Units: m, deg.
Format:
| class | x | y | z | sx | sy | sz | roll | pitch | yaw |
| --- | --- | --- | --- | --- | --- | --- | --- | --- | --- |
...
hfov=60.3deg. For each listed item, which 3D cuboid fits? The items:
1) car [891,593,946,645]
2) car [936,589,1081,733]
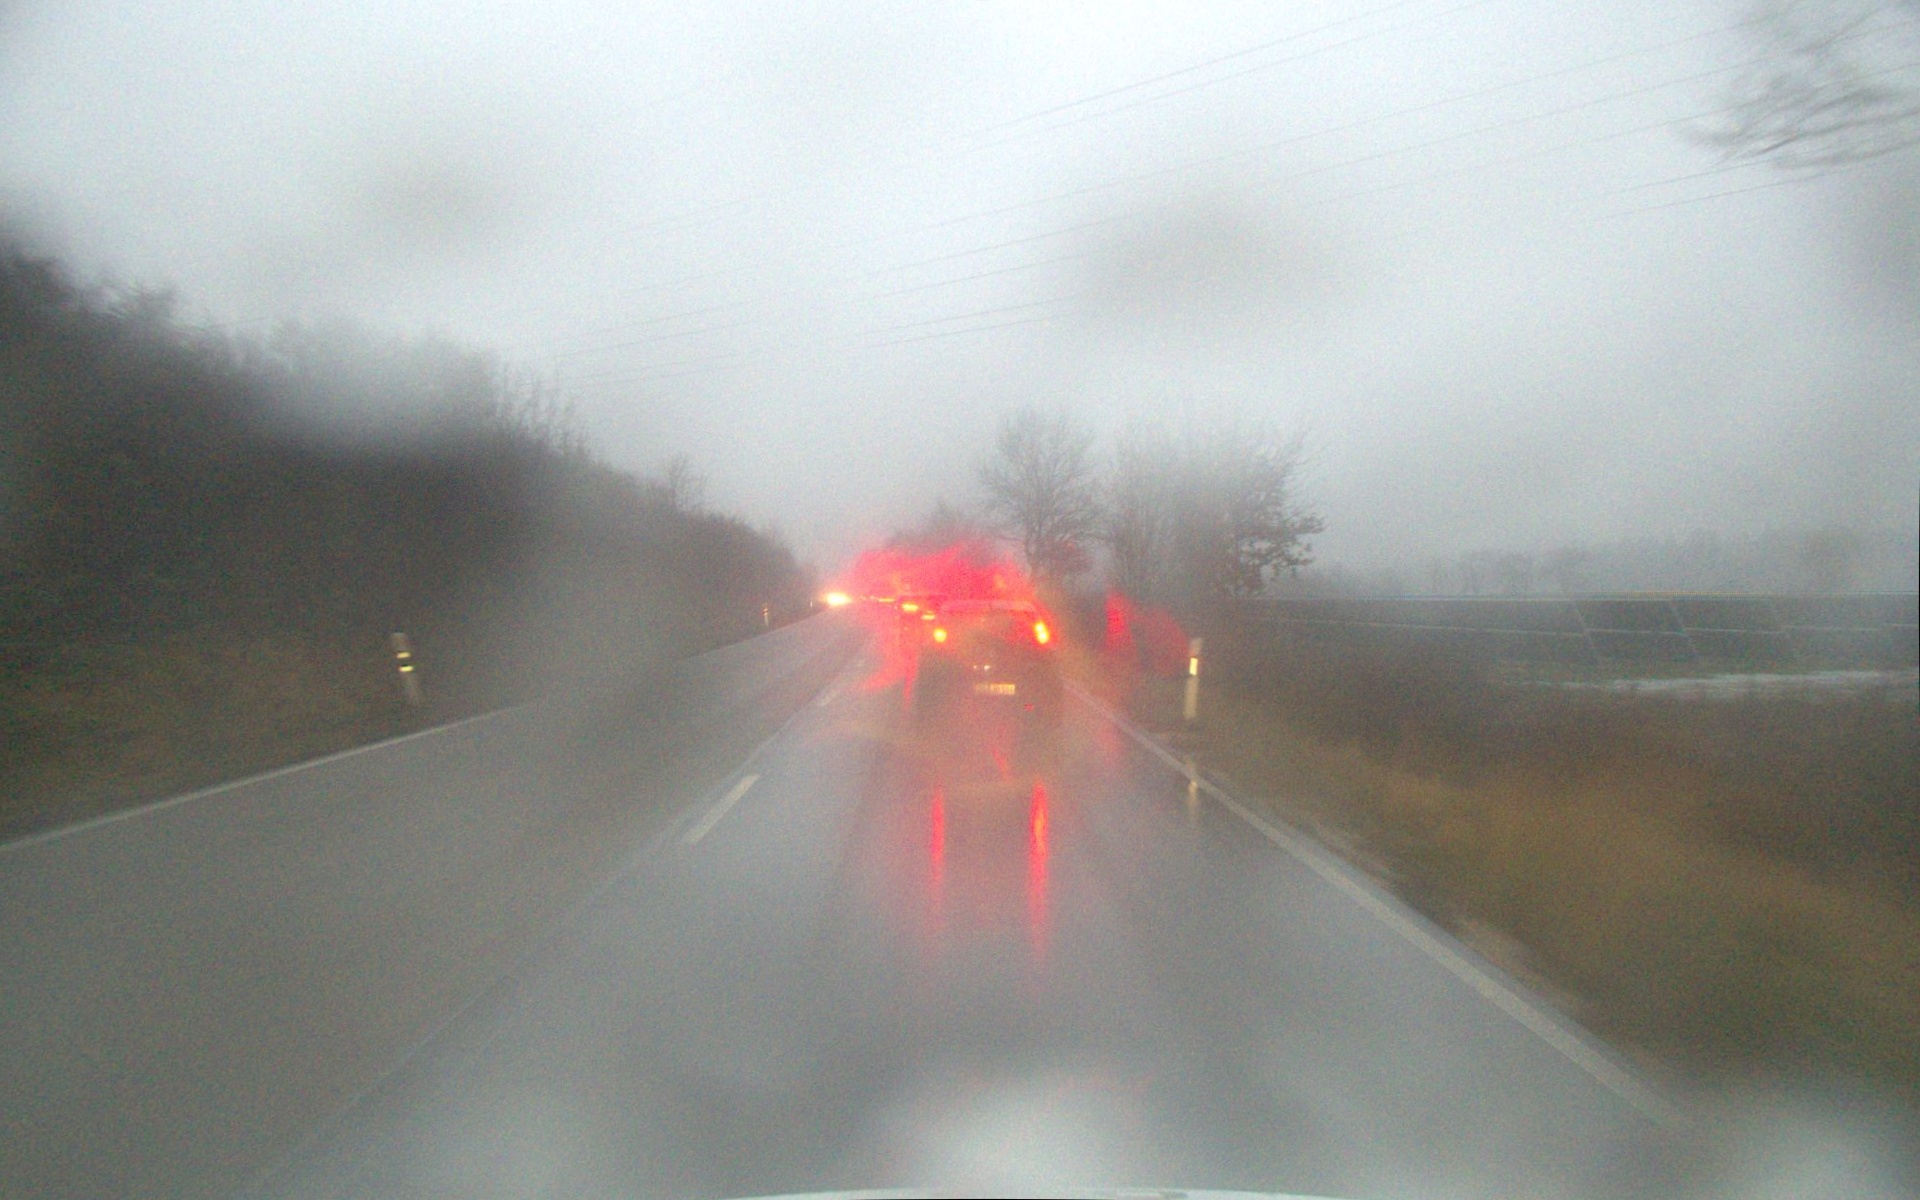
| class | x | y | z | sx | sy | sz | roll | pitch | yaw |
| --- | --- | --- | --- | --- | --- | --- | --- | --- | --- |
| car | -1.173 | 0.525 | 48.308 | 1.515 | 1.421 | 3.869 | 1 | 0 | -1 |
| car | 0.539 | 0.657 | 20.002 | 1.569 | 1.548 | 3.869 | 1 | 0 | 0 |
